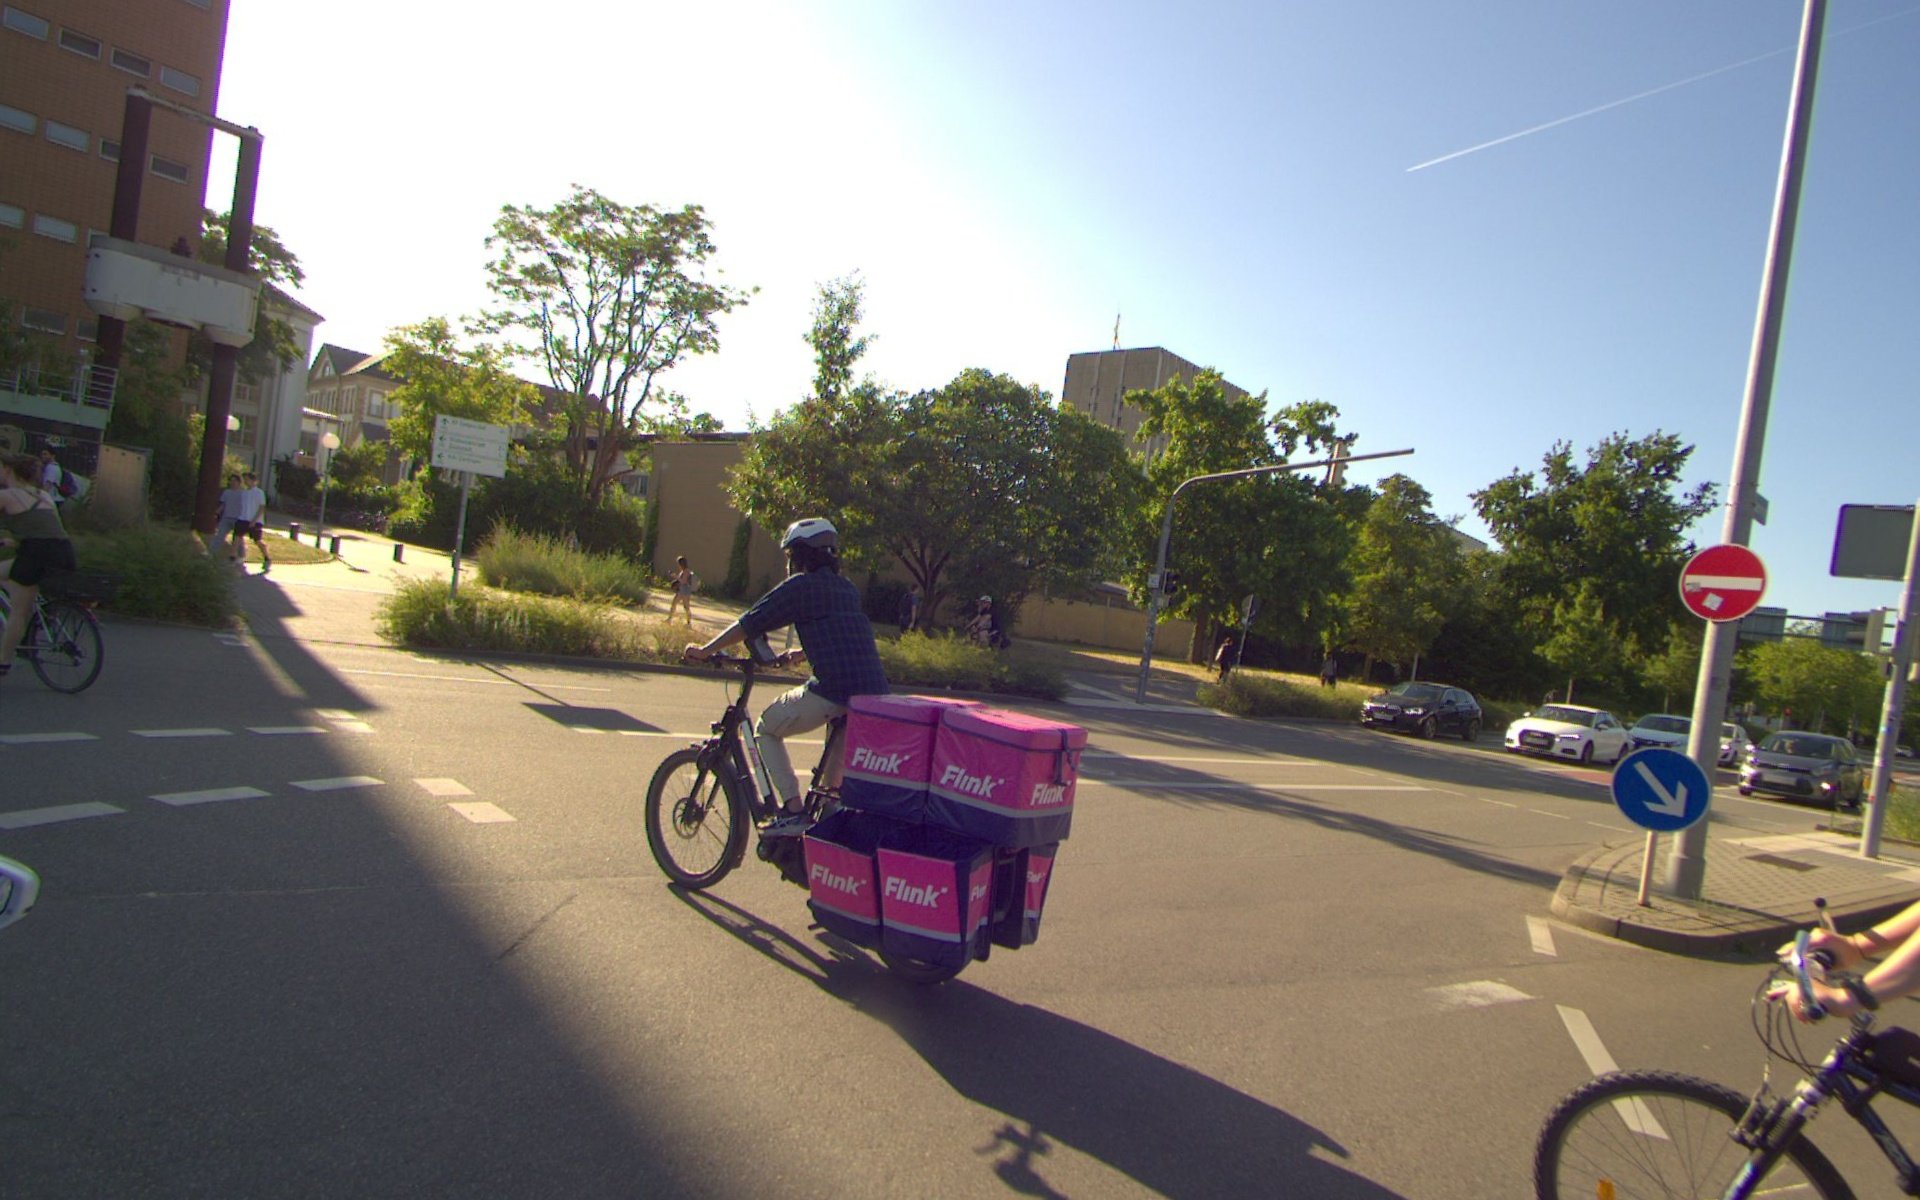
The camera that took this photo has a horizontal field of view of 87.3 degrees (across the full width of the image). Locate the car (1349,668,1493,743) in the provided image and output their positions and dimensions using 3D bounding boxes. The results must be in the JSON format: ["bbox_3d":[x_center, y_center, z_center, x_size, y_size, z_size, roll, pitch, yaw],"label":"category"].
[{"bbox_3d":[12.498,2.868,27.198,3.968,1.538,1.784,8,1,-38],"label":"car"}]

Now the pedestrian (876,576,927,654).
[{"bbox_3d":[-1.402,0.357,24.037,0.729,1.734,0.704,7,2,-41],"label":"pedestrian"}]

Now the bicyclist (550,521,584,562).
[{"bbox_3d":[-15.734,-2.326,40.269,0.613,1.451,0.915,9,0,38],"label":"bicyclist"}]

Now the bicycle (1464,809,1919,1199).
[{"bbox_3d":[2.041,1.186,1.859,1.841,1.134,0.717,9,-1,38],"label":"bicycle"}]

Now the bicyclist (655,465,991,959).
[{"bbox_3d":[-0.617,0.419,4.412,1.078,1.856,0.776,6,0,43],"label":"bicyclist"}]

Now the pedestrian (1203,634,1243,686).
[{"bbox_3d":[8.693,1.980,33.279,0.752,1.563,0.843,10,2,43],"label":"pedestrian"}]

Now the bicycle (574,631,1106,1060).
[{"bbox_3d":[-0.686,0.861,4.423,2.547,1.170,0.776,6,-1,44],"label":"bicycle"}]

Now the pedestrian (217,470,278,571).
[{"bbox_3d":[-14.331,-1.585,20.241,0.611,1.893,0.577,8,2,10],"label":"pedestrian"}]

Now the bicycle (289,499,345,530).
[{"bbox_3d":[-41.631,-5.533,65.167,2.864,1.397,0.674,11,-1,-41],"label":"bicycle"}]

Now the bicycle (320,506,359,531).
[{"bbox_3d":[-37.230,-4.888,60.363,1.789,1.120,0.494,10,-1,-41],"label":"bicycle"}]

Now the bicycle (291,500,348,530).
[{"bbox_3d":[-41.056,-5.449,64.535,2.864,1.397,0.674,11,-1,-41],"label":"bicycle"}]

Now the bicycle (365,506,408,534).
[{"bbox_3d":[-30.113,-4.182,52.819,1.789,1.120,0.494,10,-1,-41],"label":"bicycle"}]

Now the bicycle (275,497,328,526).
[{"bbox_3d":[-45.203,-6.057,69.054,2.864,1.397,0.674,11,-1,-41],"label":"bicycle"}]

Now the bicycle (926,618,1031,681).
[{"bbox_3d":[0.448,1.170,23.485,2.268,1.170,0.774,8,1,-32],"label":"bicycle"}]

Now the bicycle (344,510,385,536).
[{"bbox_3d":[-33.665,-4.355,56.893,1.789,1.120,0.494,10,-1,-41],"label":"bicycle"}]

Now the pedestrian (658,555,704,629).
[{"bbox_3d":[-6.402,-0.189,23.108,0.635,1.594,0.615,7,2,-41],"label":"pedestrian"}]

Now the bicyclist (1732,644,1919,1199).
[{"bbox_3d":[2.058,0.948,1.888,0.837,1.567,0.715,9,0,38],"label":"bicyclist"}]

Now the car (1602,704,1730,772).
[{"bbox_3d":[20.954,4.099,29.808,3.985,1.538,1.905,8,1,-38],"label":"car"}]

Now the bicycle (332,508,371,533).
[{"bbox_3d":[-35.410,-4.617,58.544,1.789,1.120,0.494,10,-1,-41],"label":"bicycle"}]

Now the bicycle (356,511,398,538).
[{"bbox_3d":[-31.725,-4.094,54.717,1.789,1.120,0.494,10,-1,-41],"label":"bicycle"}]

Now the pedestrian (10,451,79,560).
[{"bbox_3d":[-15.452,-1.594,16.999,0.624,1.721,0.617,7,2,-32],"label":"pedestrian"}]

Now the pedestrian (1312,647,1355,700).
[{"bbox_3d":[13.778,2.717,37.117,1.005,1.771,0.845,10,2,44],"label":"pedestrian"}]

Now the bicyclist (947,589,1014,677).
[{"bbox_3d":[0.470,0.769,23.452,1.082,1.853,0.774,7,2,-31],"label":"bicyclist"}]

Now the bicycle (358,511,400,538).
[{"bbox_3d":[-31.236,-4.050,54.085,1.789,1.120,0.494,10,-1,-41],"label":"bicycle"}]

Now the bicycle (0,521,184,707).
[{"bbox_3d":[-7.359,0.019,7.727,2.248,1.170,0.780,9,1,8],"label":"bicycle"}]

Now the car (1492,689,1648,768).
[{"bbox_3d":[15.394,3.264,25.318,4.396,1.538,1.784,8,1,-38],"label":"car"}]

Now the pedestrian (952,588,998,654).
[{"bbox_3d":[0.429,0.586,28.133,0.667,1.725,0.872,9,2,44],"label":"pedestrian"}]

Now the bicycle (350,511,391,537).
[{"bbox_3d":[-32.696,-4.213,55.832,1.789,1.120,0.494,10,-1,-41],"label":"bicycle"}]

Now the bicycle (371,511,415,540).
[{"bbox_3d":[-28.942,-3.810,51.342,1.789,1.120,0.494,10,-1,-41],"label":"bicycle"}]

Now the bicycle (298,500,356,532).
[{"bbox_3d":[-39.691,-5.248,63.067,2.864,1.397,0.674,11,-1,-41],"label":"bicycle"}]

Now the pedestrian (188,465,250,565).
[{"bbox_3d":[-14.986,-1.708,20.356,0.611,1.893,0.577,8,2,10],"label":"pedestrian"}]

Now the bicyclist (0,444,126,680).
[{"bbox_3d":[-7.341,-0.335,7.720,1.072,1.698,0.780,9,1,8],"label":"bicyclist"}]

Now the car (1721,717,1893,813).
[{"bbox_3d":[18.170,3.513,21.537,3.985,1.538,1.905,8,1,-38],"label":"car"}]

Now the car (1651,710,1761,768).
[{"bbox_3d":[25.693,4.801,34.611,3.985,1.538,1.905,8,1,-38],"label":"car"}]
